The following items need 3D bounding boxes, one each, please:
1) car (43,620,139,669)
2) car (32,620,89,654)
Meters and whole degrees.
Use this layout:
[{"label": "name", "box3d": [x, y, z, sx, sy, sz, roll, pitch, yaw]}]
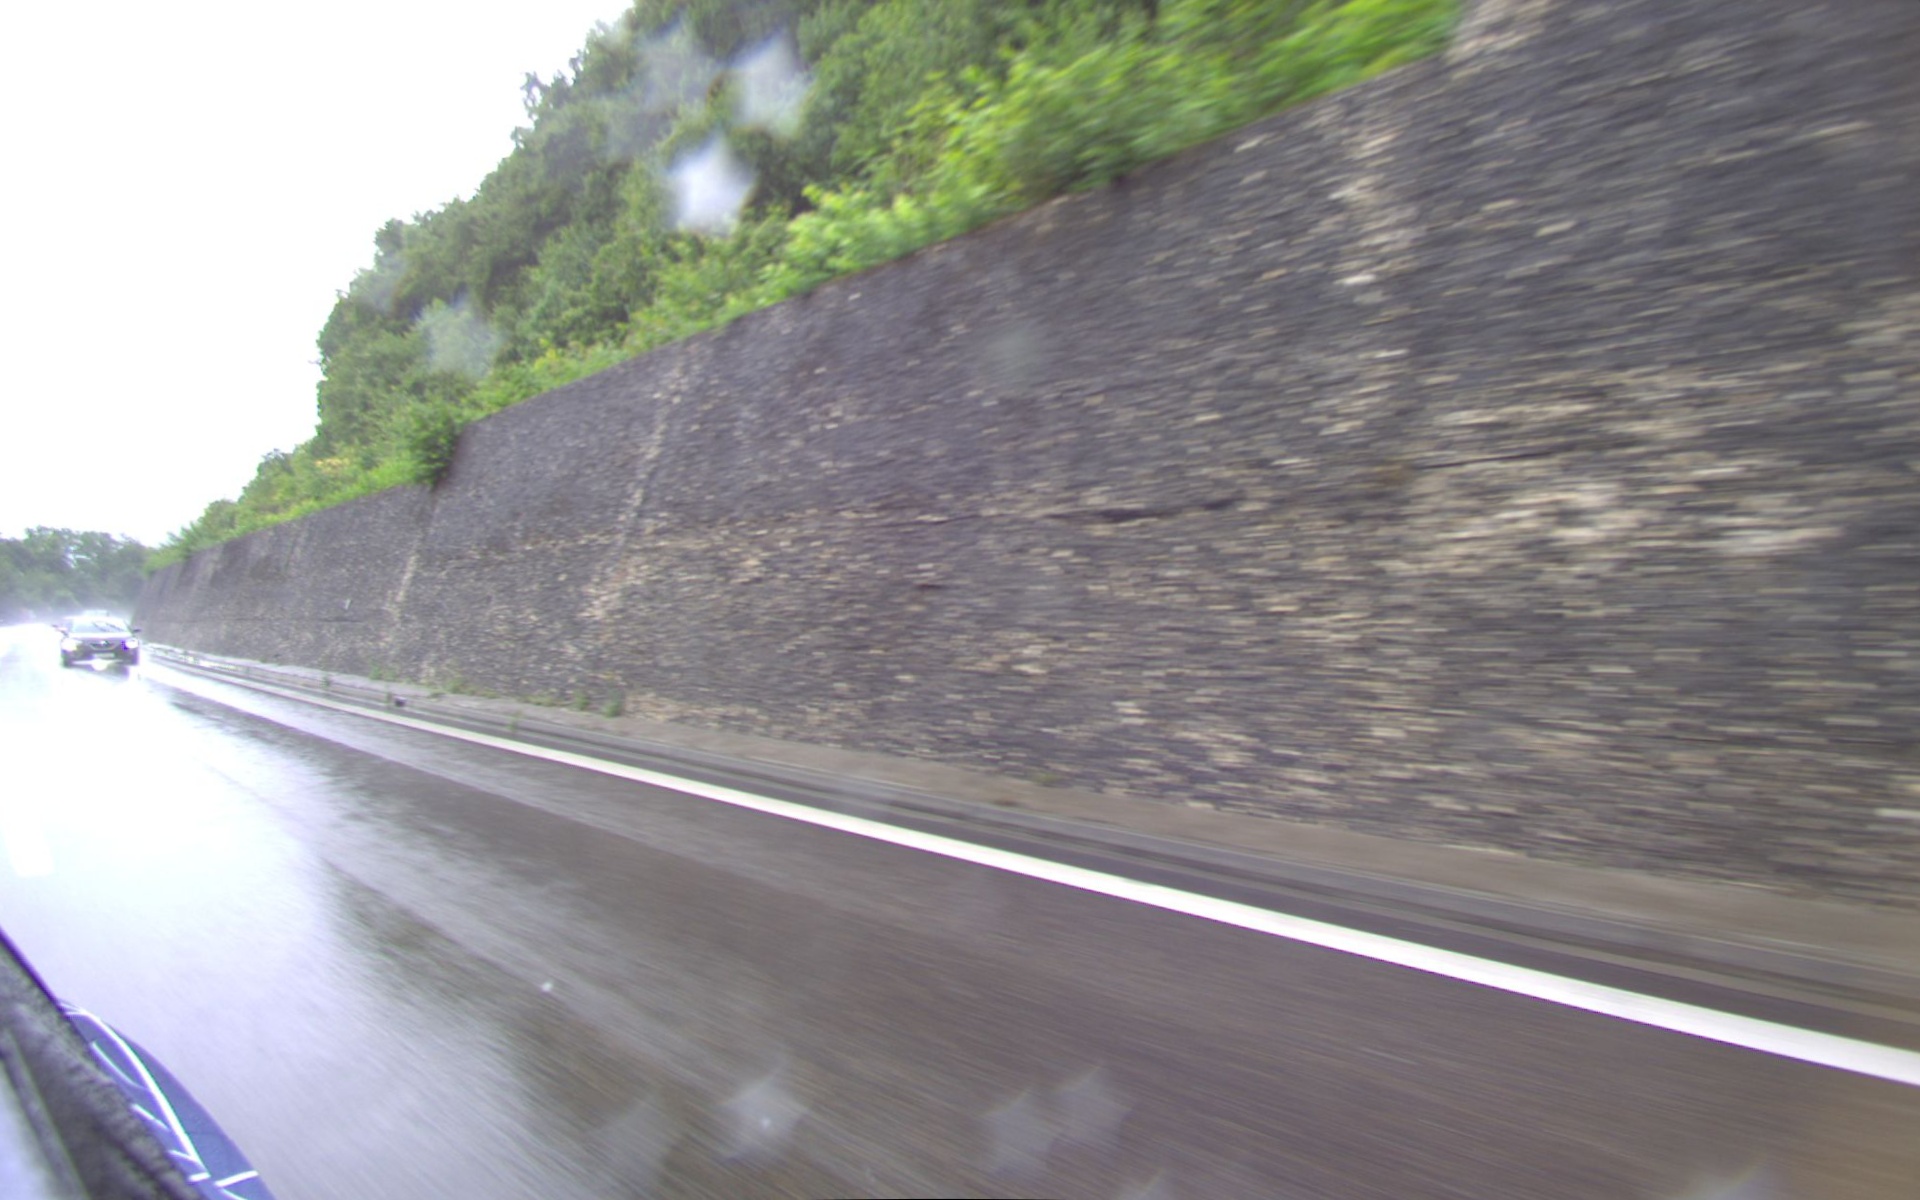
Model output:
[{"label": "car", "box3d": [-27.022, 1.351, 31.424, 4.000, 1.393, 1.803, -1, -1, 43]}, {"label": "car", "box3d": [-41.590, 1.671, 46.869, 1.800, 1.393, 4.006, -2, 1, -40]}]
